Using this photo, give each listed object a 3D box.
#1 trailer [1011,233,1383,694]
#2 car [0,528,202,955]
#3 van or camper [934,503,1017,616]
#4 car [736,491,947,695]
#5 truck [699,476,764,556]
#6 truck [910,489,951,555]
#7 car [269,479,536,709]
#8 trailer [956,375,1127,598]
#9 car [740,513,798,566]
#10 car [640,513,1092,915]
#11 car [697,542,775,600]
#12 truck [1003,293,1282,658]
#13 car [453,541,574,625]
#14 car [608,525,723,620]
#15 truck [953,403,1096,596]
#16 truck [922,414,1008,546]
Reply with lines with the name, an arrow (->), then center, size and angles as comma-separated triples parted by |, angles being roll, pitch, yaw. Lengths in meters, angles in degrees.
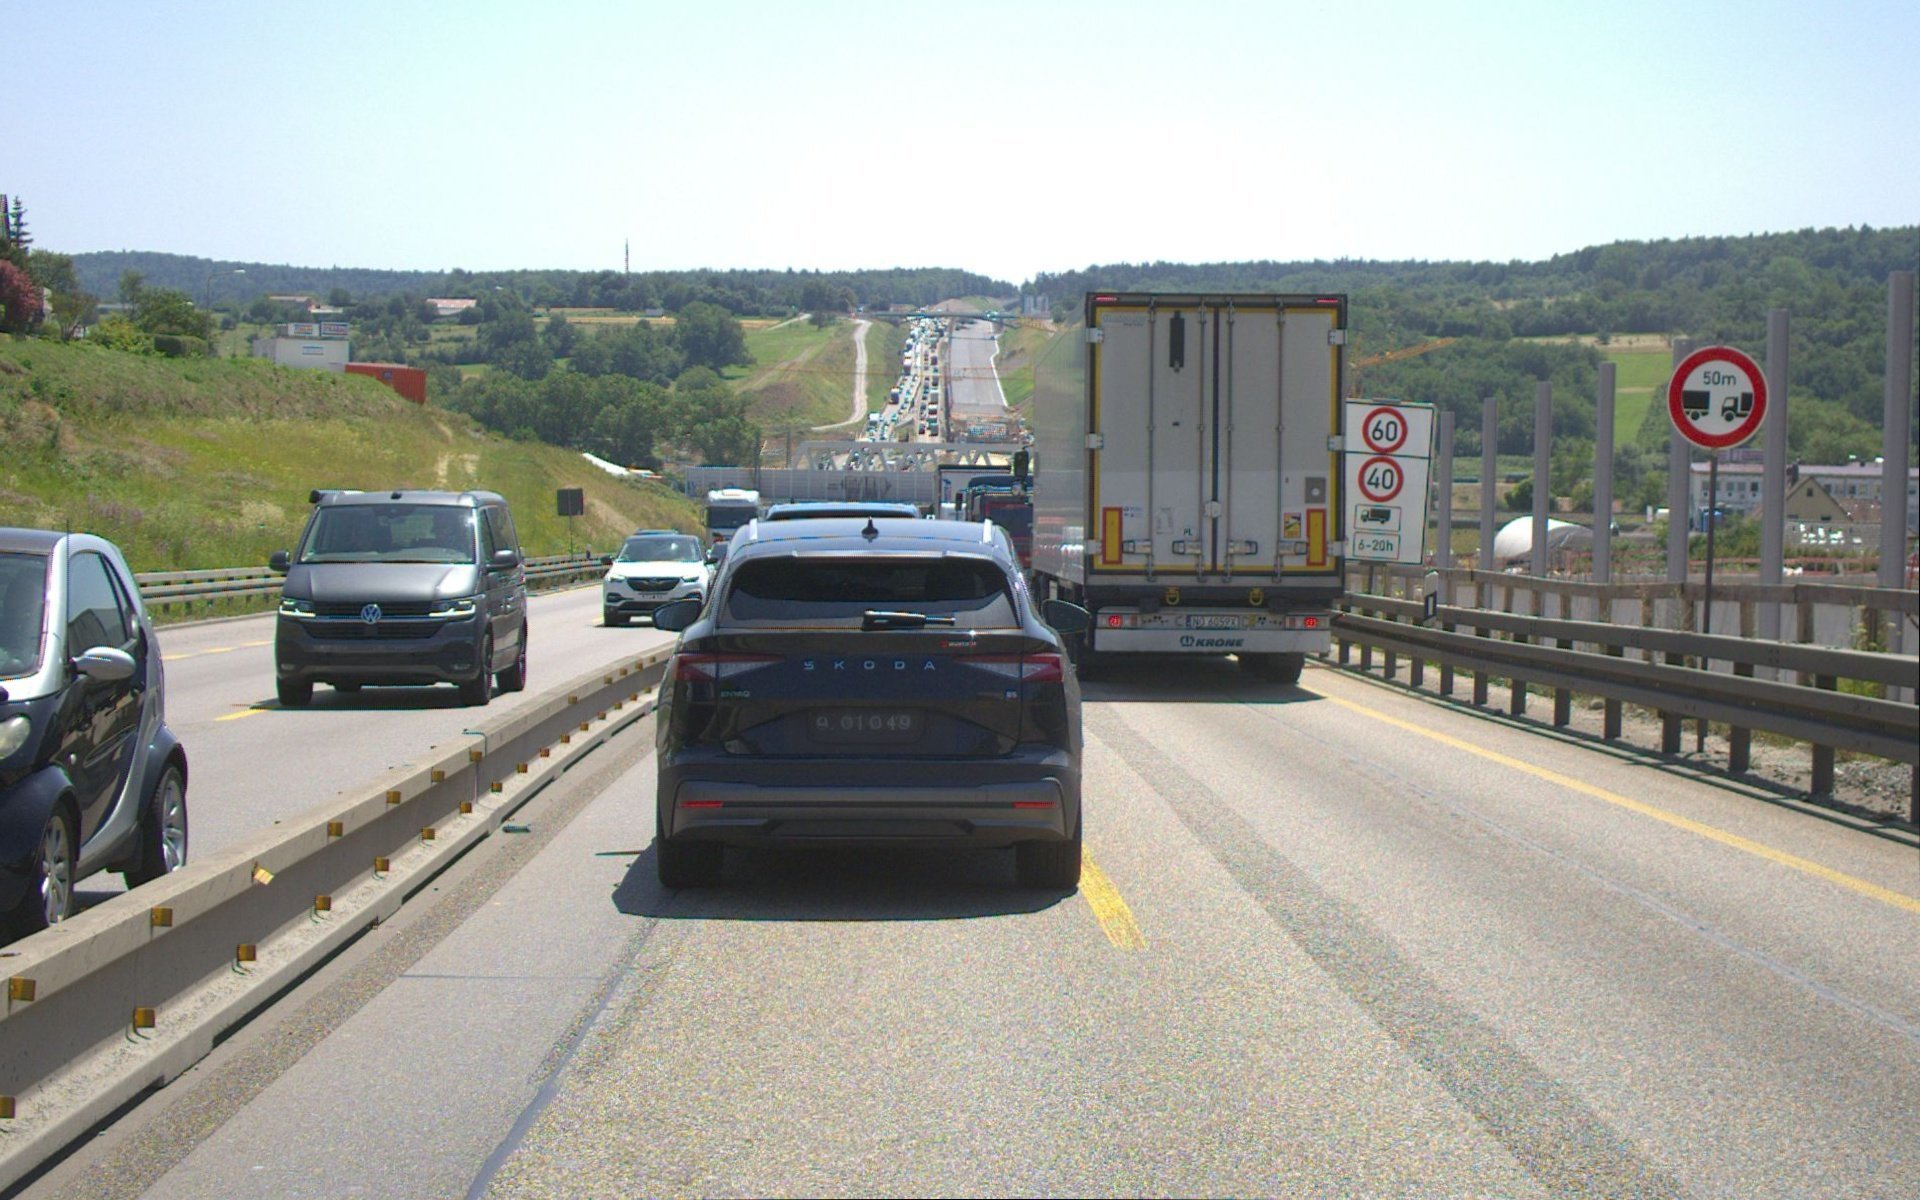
trailer -> 2.424, -1.500, 40.309 | 3.180, 4.497, 13.110 | 0, 1, -1
car -> -3.994, 0.467, 13.461 | 1.483, 1.500, 2.805 | 0, 1, -1
van or camper -> 0.500, -1.166, 103.004 | 2.389, 3.269, 6.468 | 0, 0, 1
car -> -1.176, -0.066, 34.895 | 1.993, 1.919, 4.508 | 0, 0, -1
truck -> -10.679, -3.937, 161.368 | 2.779, 3.660, 6.278 | 0, 1, -1
truck -> -1.993, -5.141, 229.853 | 2.639, 4.179, 9.284 | 0, 0, -1
car -> -5.197, -0.096, 32.644 | 1.910, 2.007, 4.907 | 0, 1, -2
trailer -> 1.645, -2.307, 77.373 | 3.180, 4.498, 14.967 | 0, 0, -1
car -> -6.606, -2.104, 118.999 | 1.846, 1.771, 4.882 | 0, 1, -1
car -> -0.389, 0.438, 15.782 | 1.802, 1.602, 4.000 | 0, 1, 0
car -> -5.795, -0.776, 89.393 | 1.798, 1.461, 4.356 | -1, 1, -1
truck -> 2.316, -1.643, 46.769 | 3.180, 4.497, 8.166 | 0, 1, -1
car -> -8.297, -0.351, 64.205 | 1.804, 1.492, 4.600 | 0, 1, -2
car -> -5.197, -0.512, 61.130 | 1.806, 1.634, 4.173 | 0, 1, -2
truck -> 1.509, -2.357, 84.517 | 3.180, 4.498, 8.166 | 0, 0, -1
truck -> 0.106, -4.334, 127.660 | 2.852, 4.450, 11.918 | 0, 0, -2
